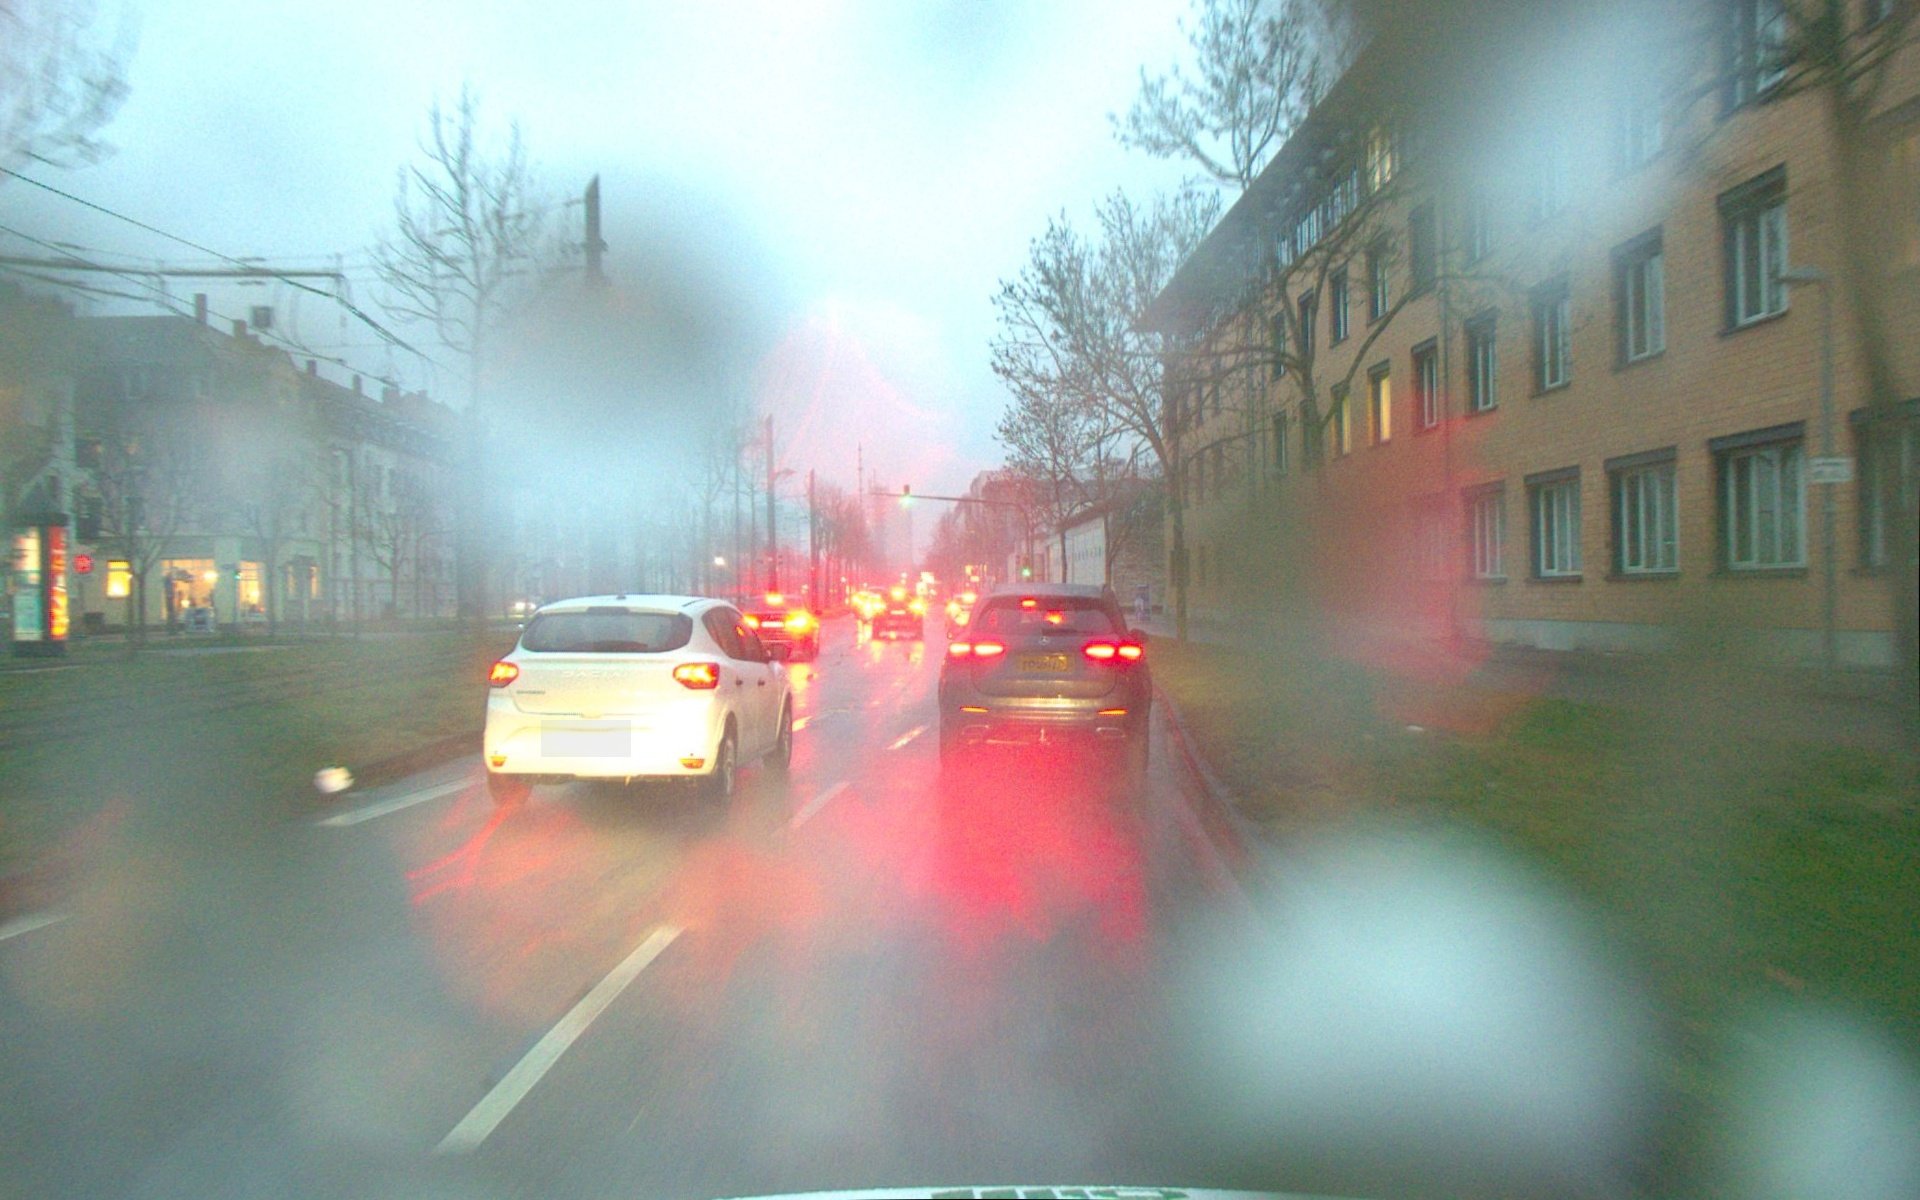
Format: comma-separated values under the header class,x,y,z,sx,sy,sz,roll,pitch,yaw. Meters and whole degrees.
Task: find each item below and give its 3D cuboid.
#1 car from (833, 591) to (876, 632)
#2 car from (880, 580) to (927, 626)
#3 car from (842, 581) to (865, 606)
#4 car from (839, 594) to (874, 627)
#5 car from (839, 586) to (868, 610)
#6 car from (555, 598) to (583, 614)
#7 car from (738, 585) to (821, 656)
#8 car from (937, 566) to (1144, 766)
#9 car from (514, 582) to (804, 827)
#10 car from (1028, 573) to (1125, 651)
class,x,y,z,sx,sy,sz,roll,pitch,yaw
car,-5.385,0.564,84.994,1.953,2.049,3.999,-1,0,-1
car,-2.024,0.097,59.940,1.638,1.628,4.052,0,0,-2
car,-9.258,-0.571,144.279,1.779,2.049,3.999,-1,0,-1
car,-6.229,0.619,100.099,1.901,1.870,3.999,-1,0,-1
car,-8.052,-0.193,125.192,1.953,1.747,3.999,-1,0,-1
car,-34.793,0.527,147.083,1.740,1.377,3.555,-2,1,-3
car,-4.282,0.460,39.705,1.638,1.628,4.052,0,0,-2
car,0.630,0.529,15.486,1.638,1.628,4.052,0,0,-2
car,-2.195,0.687,13.038,1.638,1.628,4.052,0,0,-2
car,2.787,0.267,40.366,1.953,1.774,3.999,-1,0,-1
